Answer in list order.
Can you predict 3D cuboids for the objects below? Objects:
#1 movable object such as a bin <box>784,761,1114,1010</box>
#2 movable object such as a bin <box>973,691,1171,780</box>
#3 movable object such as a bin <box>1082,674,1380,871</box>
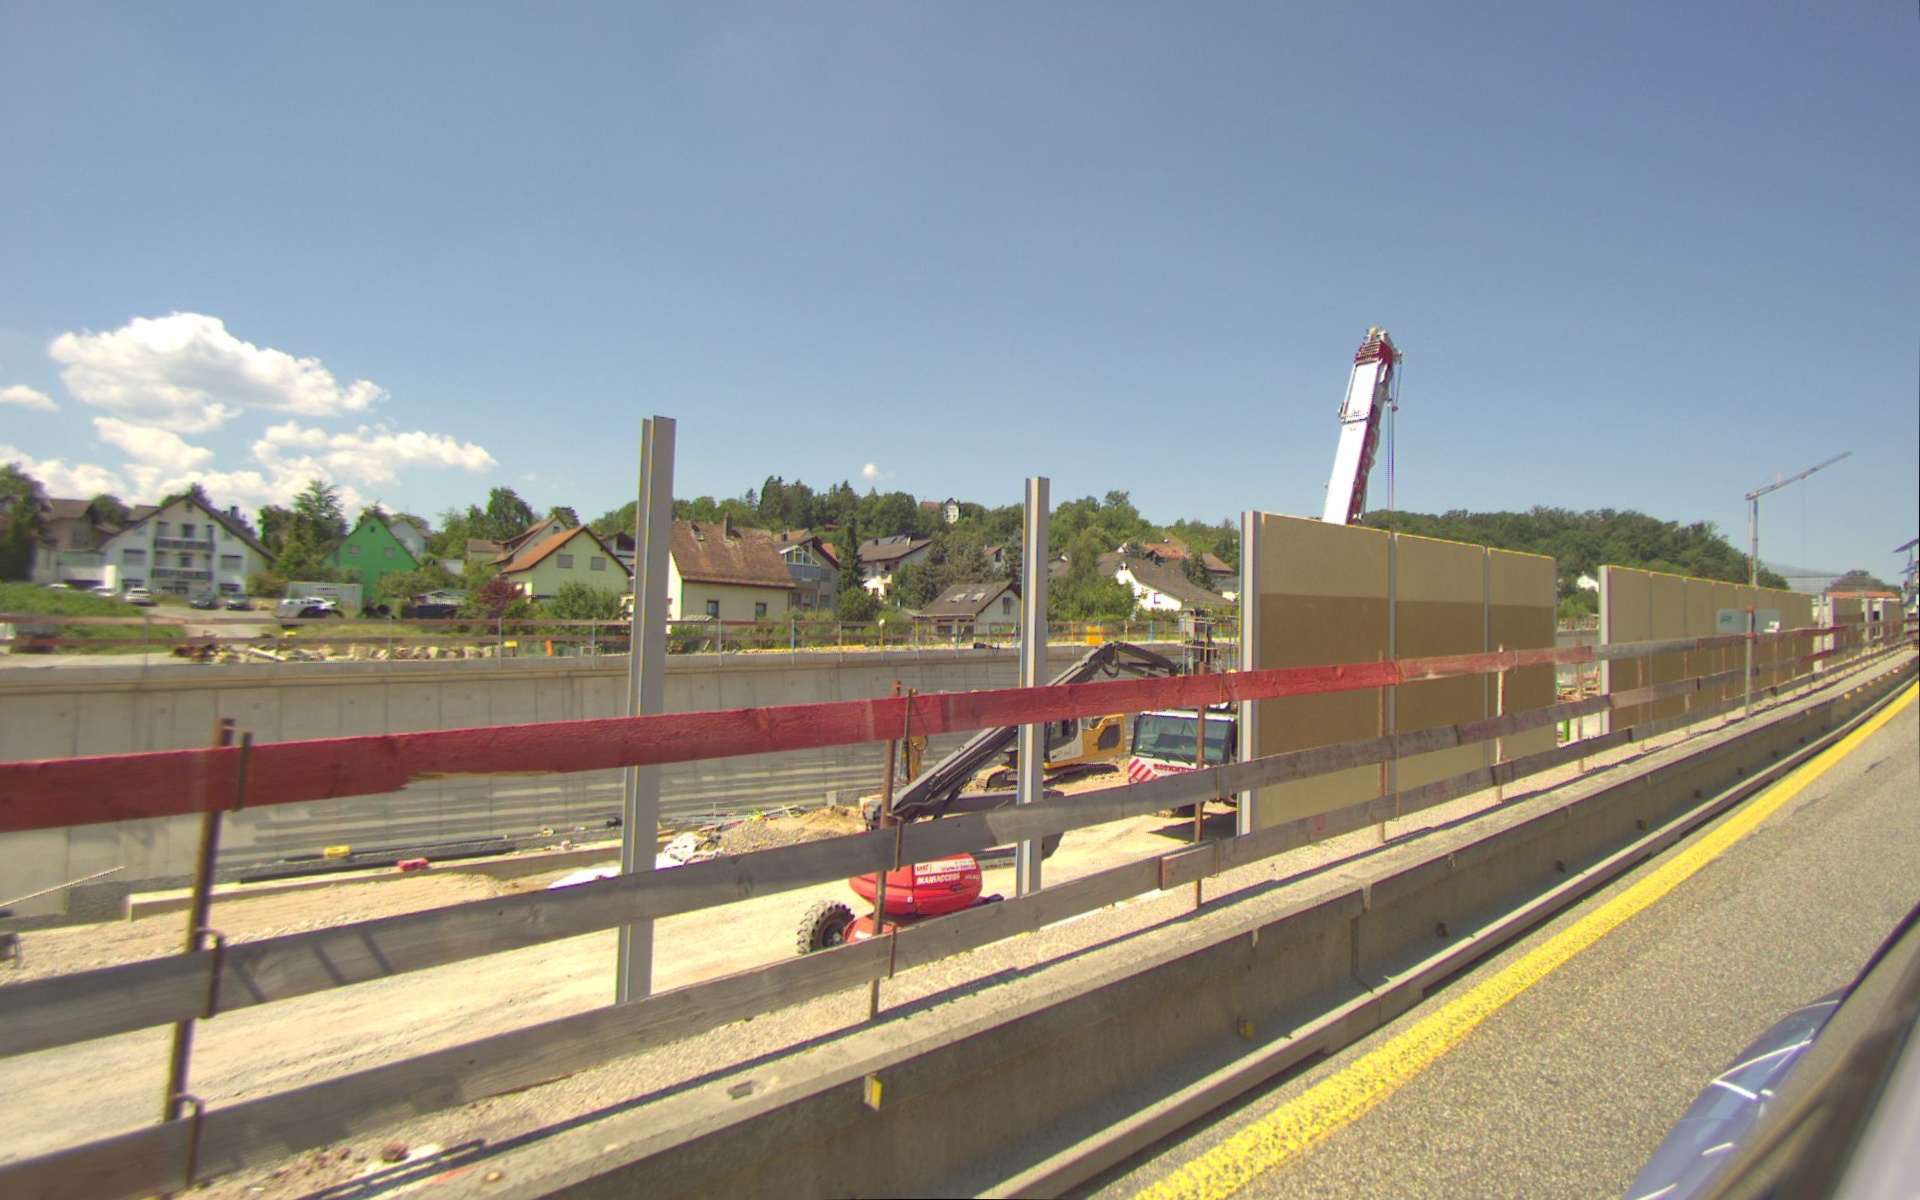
[{"bbox_3d":[-0.048,4.026,15.348,4.738,2.463,2.171,0,-2,-42],"label":"movable object such as a bin"},{"bbox_3d":[4.394,4.979,38.450,7.762,2.477,3.165,0,-2,-43],"label":"movable object such as a bin"},{"bbox_3d":[7.018,3.849,25.073,9.003,3.533,2.966,0,-2,-45],"label":"movable object such as a bin"}]
